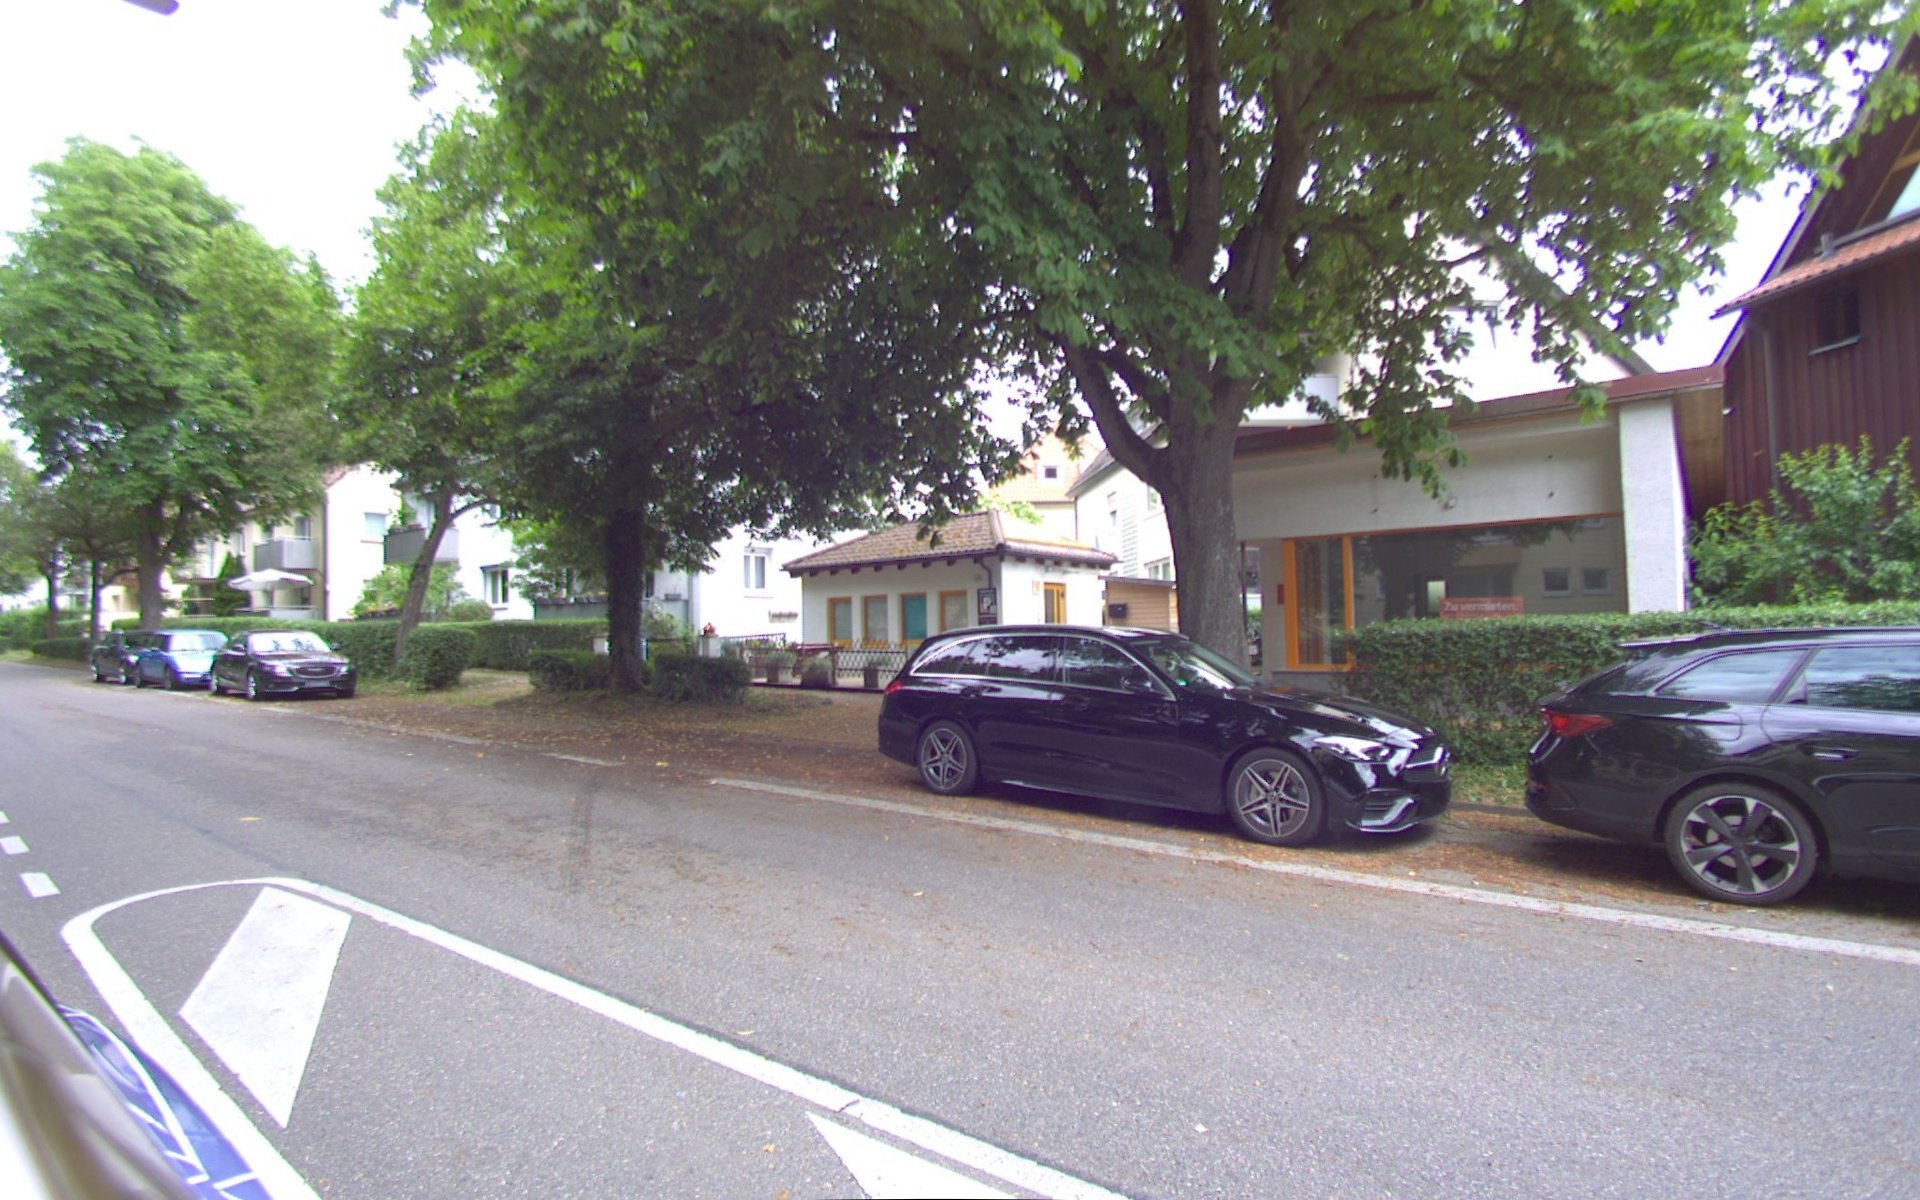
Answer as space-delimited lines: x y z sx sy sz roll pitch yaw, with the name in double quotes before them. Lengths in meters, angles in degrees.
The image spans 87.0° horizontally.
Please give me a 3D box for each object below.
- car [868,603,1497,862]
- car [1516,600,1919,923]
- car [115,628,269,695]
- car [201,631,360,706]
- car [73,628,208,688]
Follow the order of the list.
"car" 1.558 0.864 8.202 4.612 1.511 1.973 -2 -3 41
"car" 5.453 0.756 4.989 4.536 1.497 1.674 -2 -3 38
"car" -18.913 1.460 24.862 4.558 1.512 1.866 -2 -3 37
"car" -14.219 1.375 21.095 4.169 1.414 1.713 -2 -3 41
"car" -22.601 1.559 27.855 4.558 1.545 1.866 -2 -3 37
